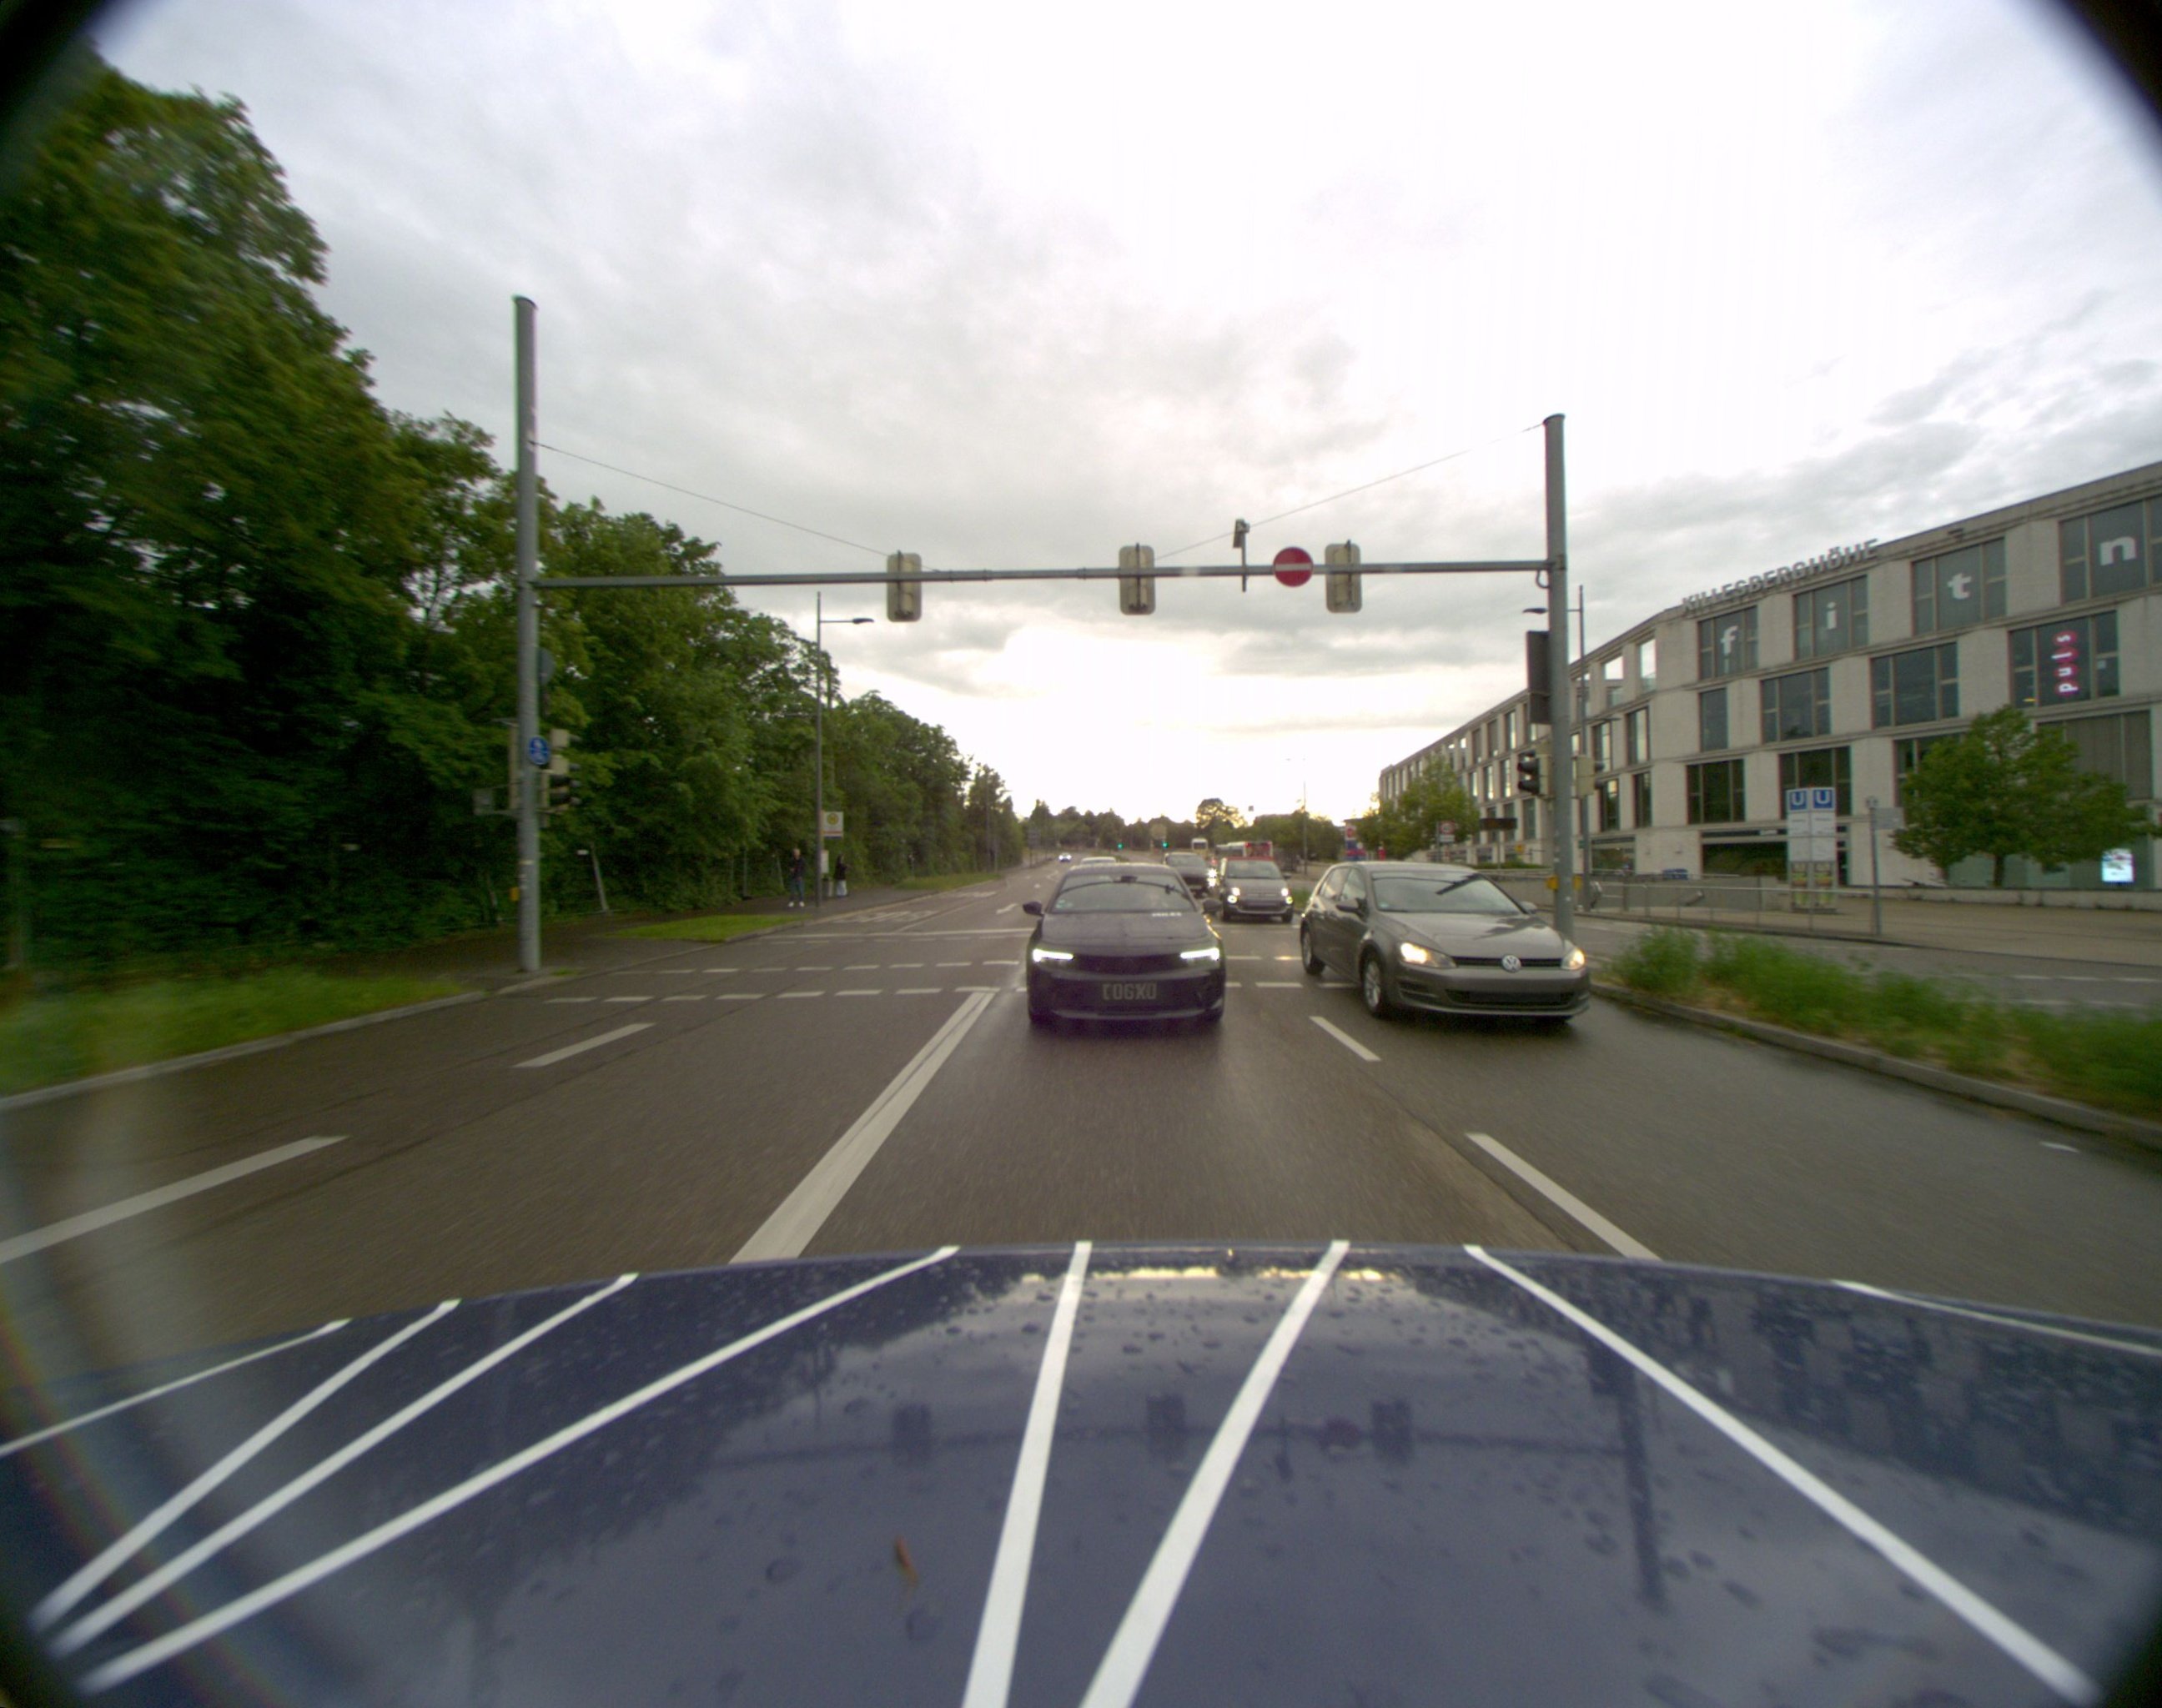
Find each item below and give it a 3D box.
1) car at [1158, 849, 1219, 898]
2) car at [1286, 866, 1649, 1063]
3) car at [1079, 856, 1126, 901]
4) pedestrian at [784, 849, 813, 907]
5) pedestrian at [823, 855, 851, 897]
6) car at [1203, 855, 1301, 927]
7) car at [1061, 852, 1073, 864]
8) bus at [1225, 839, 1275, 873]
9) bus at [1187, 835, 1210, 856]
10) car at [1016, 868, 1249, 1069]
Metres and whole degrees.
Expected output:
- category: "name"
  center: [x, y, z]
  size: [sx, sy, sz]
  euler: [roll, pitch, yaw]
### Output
- category: "car"
  center: [4.073, 0.696, 29.442]
  size: [1.905, 1.761, 4.000]
  euler: [0, 0, 2]
- category: "car"
  center: [3.578, 0.898, 7.992]
  size: [1.904, 1.431, 4.001]
  euler: [1, 0, 3]
- category: "car"
  center: [0.804, 0.854, 28.067]
  size: [1.644, 1.511, 3.579]
  euler: [0, 0, 2]
- category: "pedestrian"
  center: [-9.322, 0.785, 25.083]
  size: [0.677, 1.872, 0.699]
  euler: [0, 1, 2]
- category: "pedestrian"
  center: [-9.820, 0.889, 30.639]
  size: [0.821, 1.666, 0.831]
  euler: [0, 1, 2]
- category: "car"
  center: [4.050, 0.821, 18.568]
  size: [1.670, 1.521, 3.657]
  euler: [1, 1, 2]
- category: "car"
  center: [-2.459, 0.686, 134.517]
  size: [1.999, 2.002, 3.999]
  euler: [0, 0, -4]
- category: "bus"
  center: [15.650, 0.167, 71.187]
  size: [2.879, 2.971, 10.007]
  euler: [0, 0, 3]
- category: "bus"
  center: [19.955, -1.413, 129.572]
  size: [2.815, 3.495, 9.143]
  euler: [0, 0, 2]
- category: "car"
  center: [0.382, 0.945, 8.257]
  size: [1.804, 1.422, 4.519]
  euler: [-2, 1, -1]
